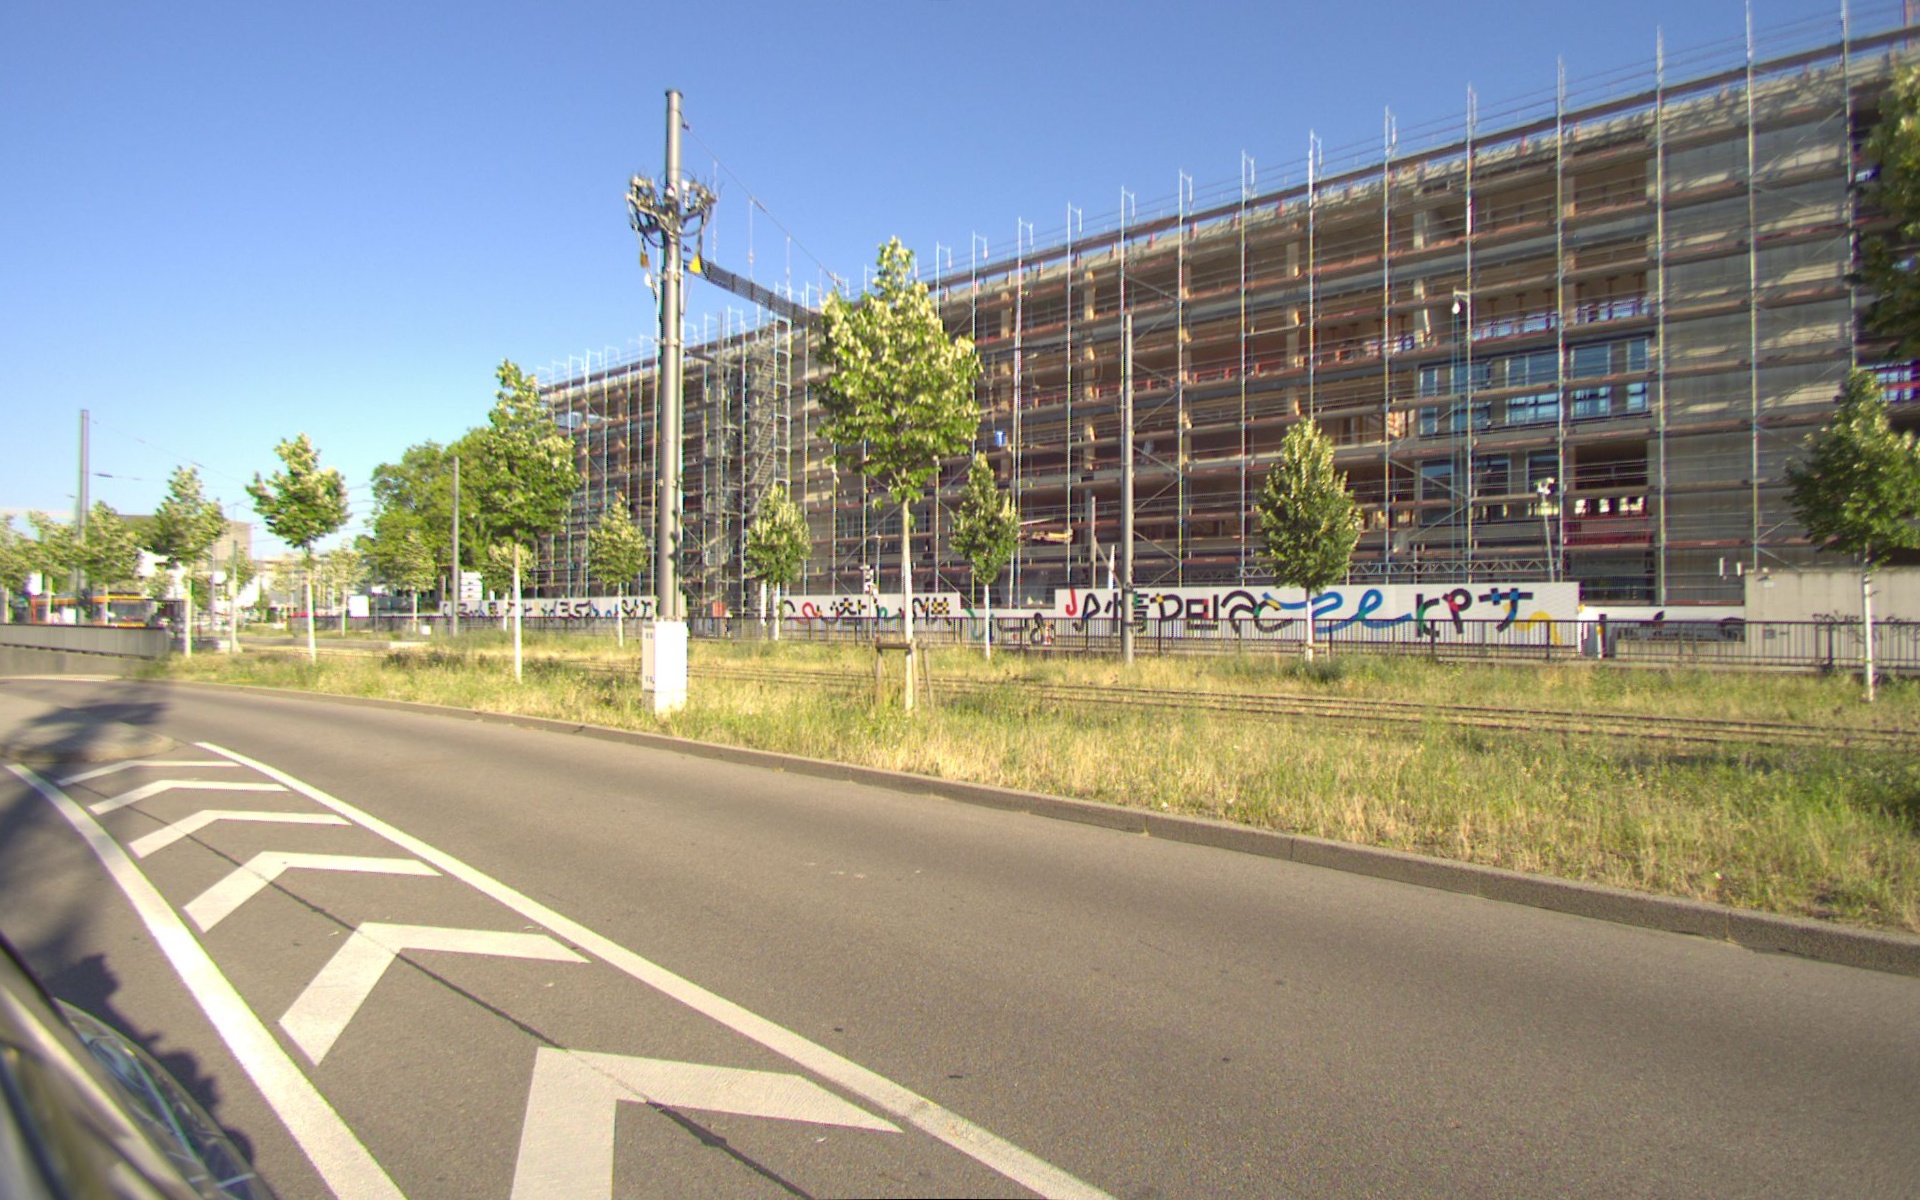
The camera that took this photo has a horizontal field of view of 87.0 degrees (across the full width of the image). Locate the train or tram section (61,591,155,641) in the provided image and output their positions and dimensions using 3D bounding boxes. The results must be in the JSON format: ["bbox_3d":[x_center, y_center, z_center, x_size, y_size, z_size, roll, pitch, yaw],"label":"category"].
[{"bbox_3d":[-62.623,1.136,74.249,12.619,3.423,2.917,-1,0,39],"label":"train or tram section"}]

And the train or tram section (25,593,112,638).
[{"bbox_3d":[-73.229,1.285,82.918,14.749,3.423,2.917,-1,0,39],"label":"train or tram section"}]
